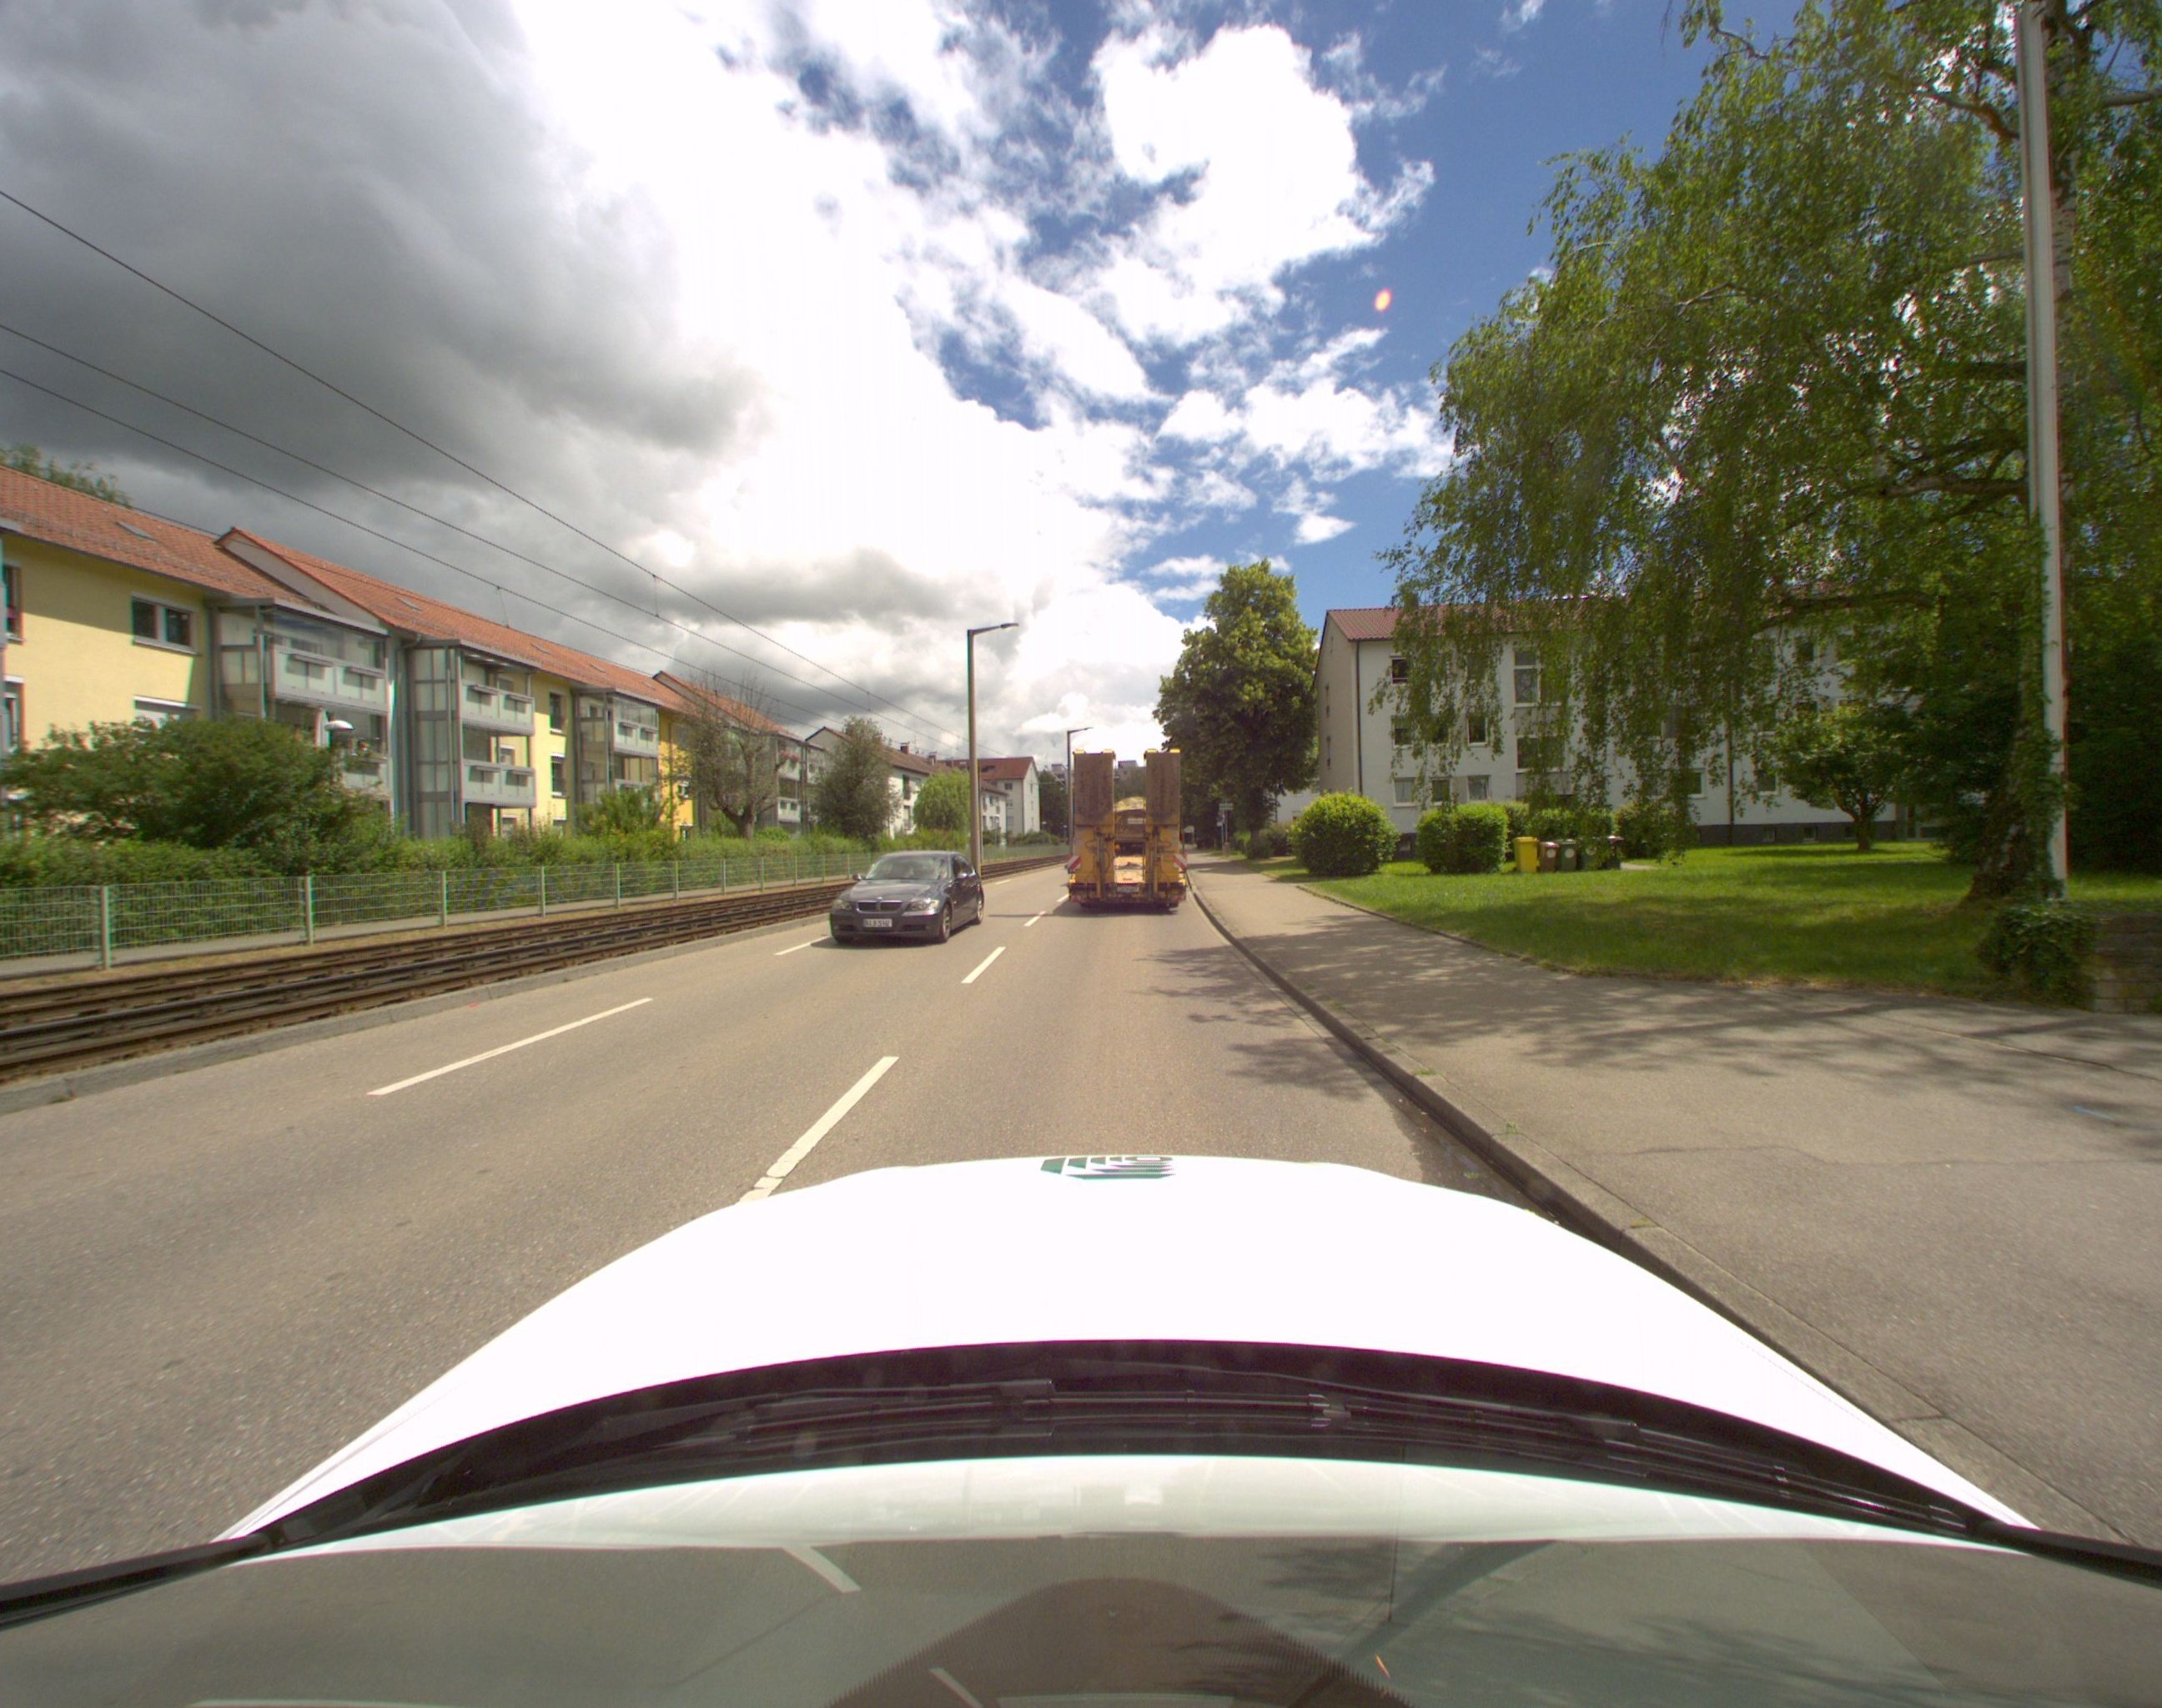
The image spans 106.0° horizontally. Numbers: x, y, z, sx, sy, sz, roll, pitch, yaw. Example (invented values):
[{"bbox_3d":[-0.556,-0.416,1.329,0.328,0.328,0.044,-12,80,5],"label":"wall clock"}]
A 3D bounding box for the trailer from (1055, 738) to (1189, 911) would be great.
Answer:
[{"bbox_3d":[1.121,-0.706,23.381,2.816,3.645,12.362,0,1,2],"label":"trailer"}]

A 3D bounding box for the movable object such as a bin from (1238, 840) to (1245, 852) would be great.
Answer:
[{"bbox_3d":[13.212,-0.666,66.914,0.493,0.955,0.581,-2,0,6],"label":"movable object such as a bin"}]

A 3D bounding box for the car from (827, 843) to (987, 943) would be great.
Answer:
[{"bbox_3d":[-2.756,0.538,13.853,1.622,1.432,4.170,0,1,3],"label":"car"}]
